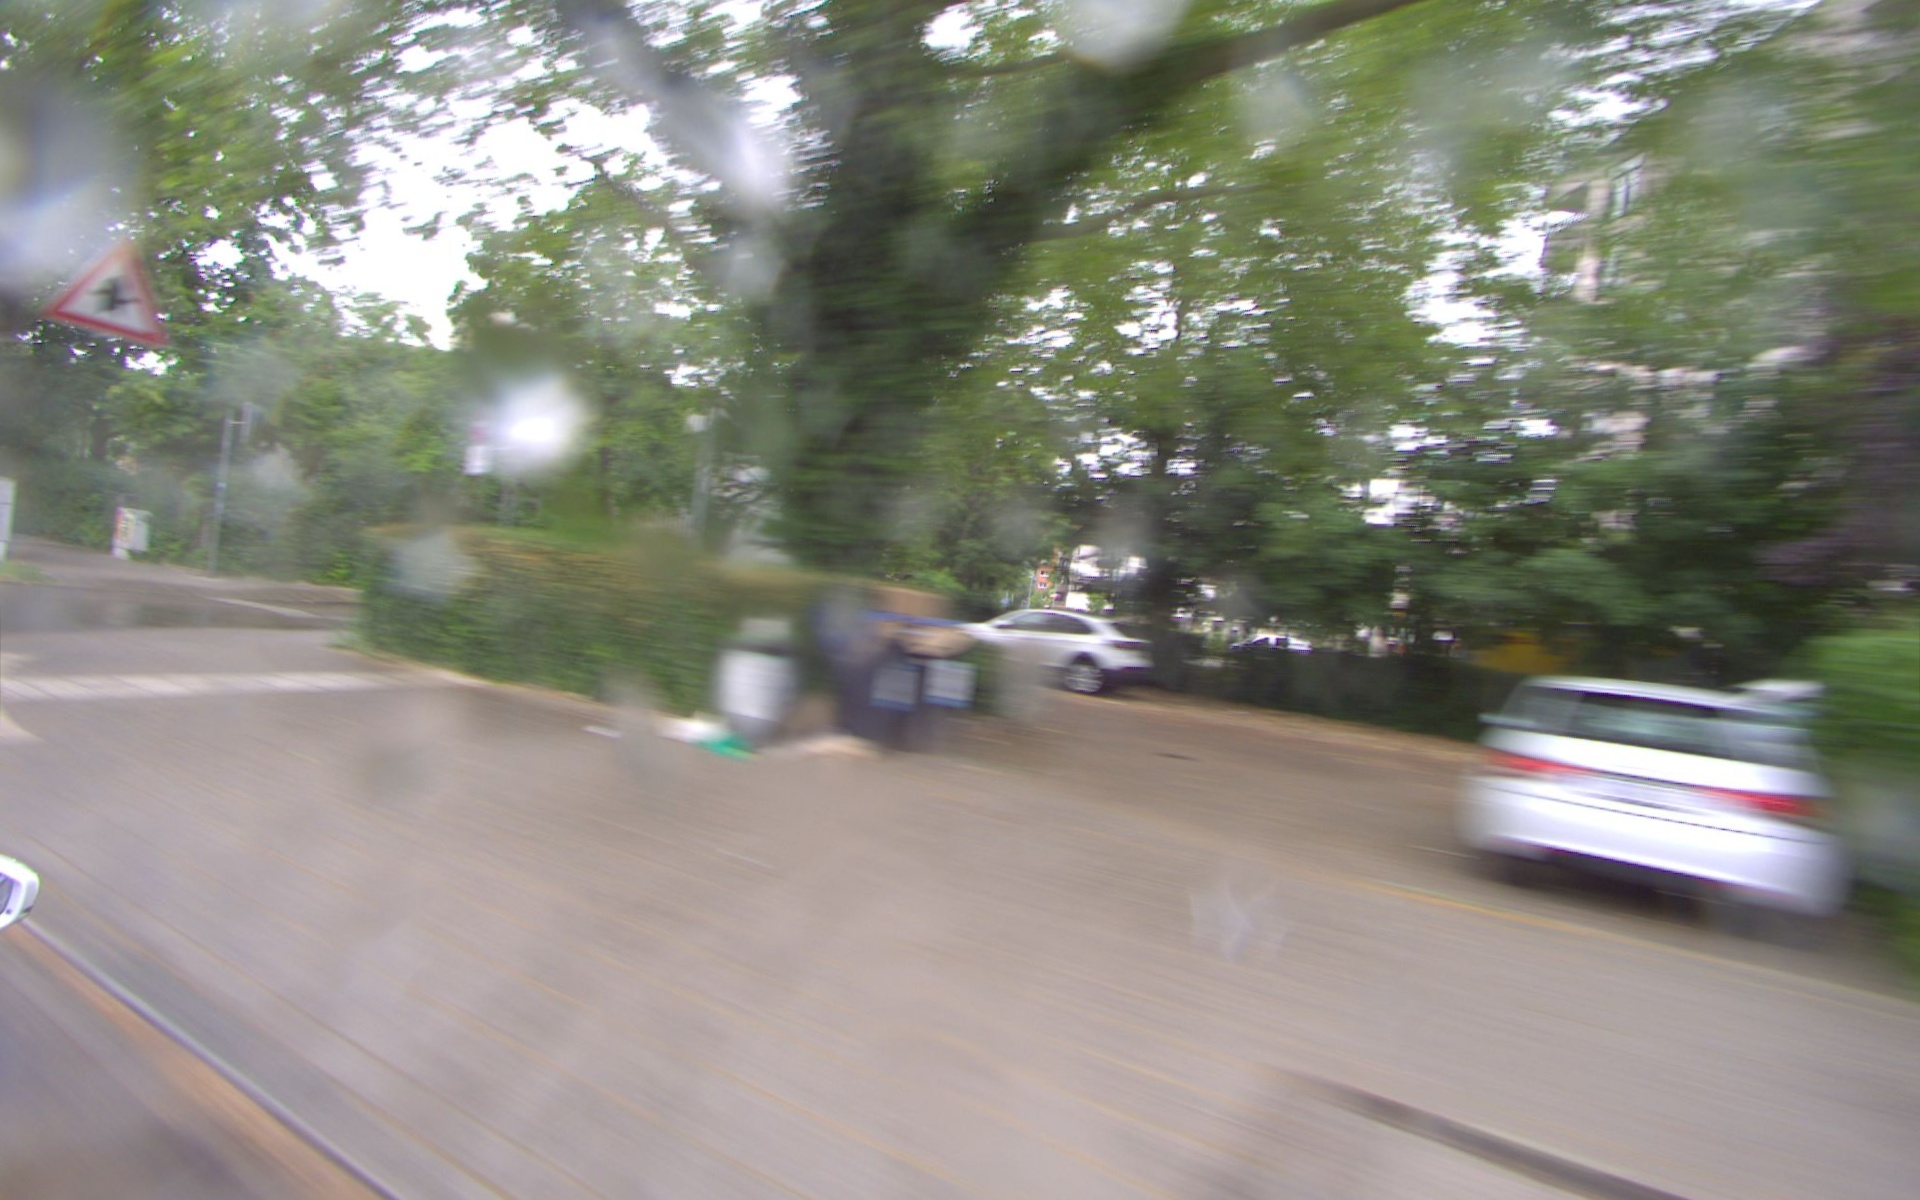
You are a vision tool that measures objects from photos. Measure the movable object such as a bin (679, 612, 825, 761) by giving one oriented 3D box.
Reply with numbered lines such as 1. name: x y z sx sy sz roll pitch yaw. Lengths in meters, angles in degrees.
1. movable object such as a bin: -1.655 0.660 8.024 0.810 1.036 0.692 7 3 30

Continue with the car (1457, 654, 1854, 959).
1. car: 4.864 1.267 7.289 1.732 1.394 3.701 6 -1 33

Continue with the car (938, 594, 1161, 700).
1. car: 1.774 0.921 20.111 3.930 1.559 1.759 7 -1 27

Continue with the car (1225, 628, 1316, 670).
1. car: 20.171 3.183 65.532 5.044 2.038 2.255 7 -1 -1

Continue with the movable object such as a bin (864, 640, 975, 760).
1. movable object such as a bin: -0.351 0.847 8.773 0.726 0.911 0.536 7 3 30

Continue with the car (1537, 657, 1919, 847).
1. car: 9.979 1.864 13.012 4.178 1.674 1.996 6 -1 32

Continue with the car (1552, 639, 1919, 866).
1. car: 8.860 1.598 10.758 4.178 1.815 1.996 6 -1 32

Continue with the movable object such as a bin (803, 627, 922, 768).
1. movable object such as a bin: -0.804 0.779 8.318 0.726 1.036 0.536 7 3 30

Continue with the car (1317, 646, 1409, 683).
1. car: 26.470 4.230 66.215 5.044 1.723 2.255 7 -1 -1
